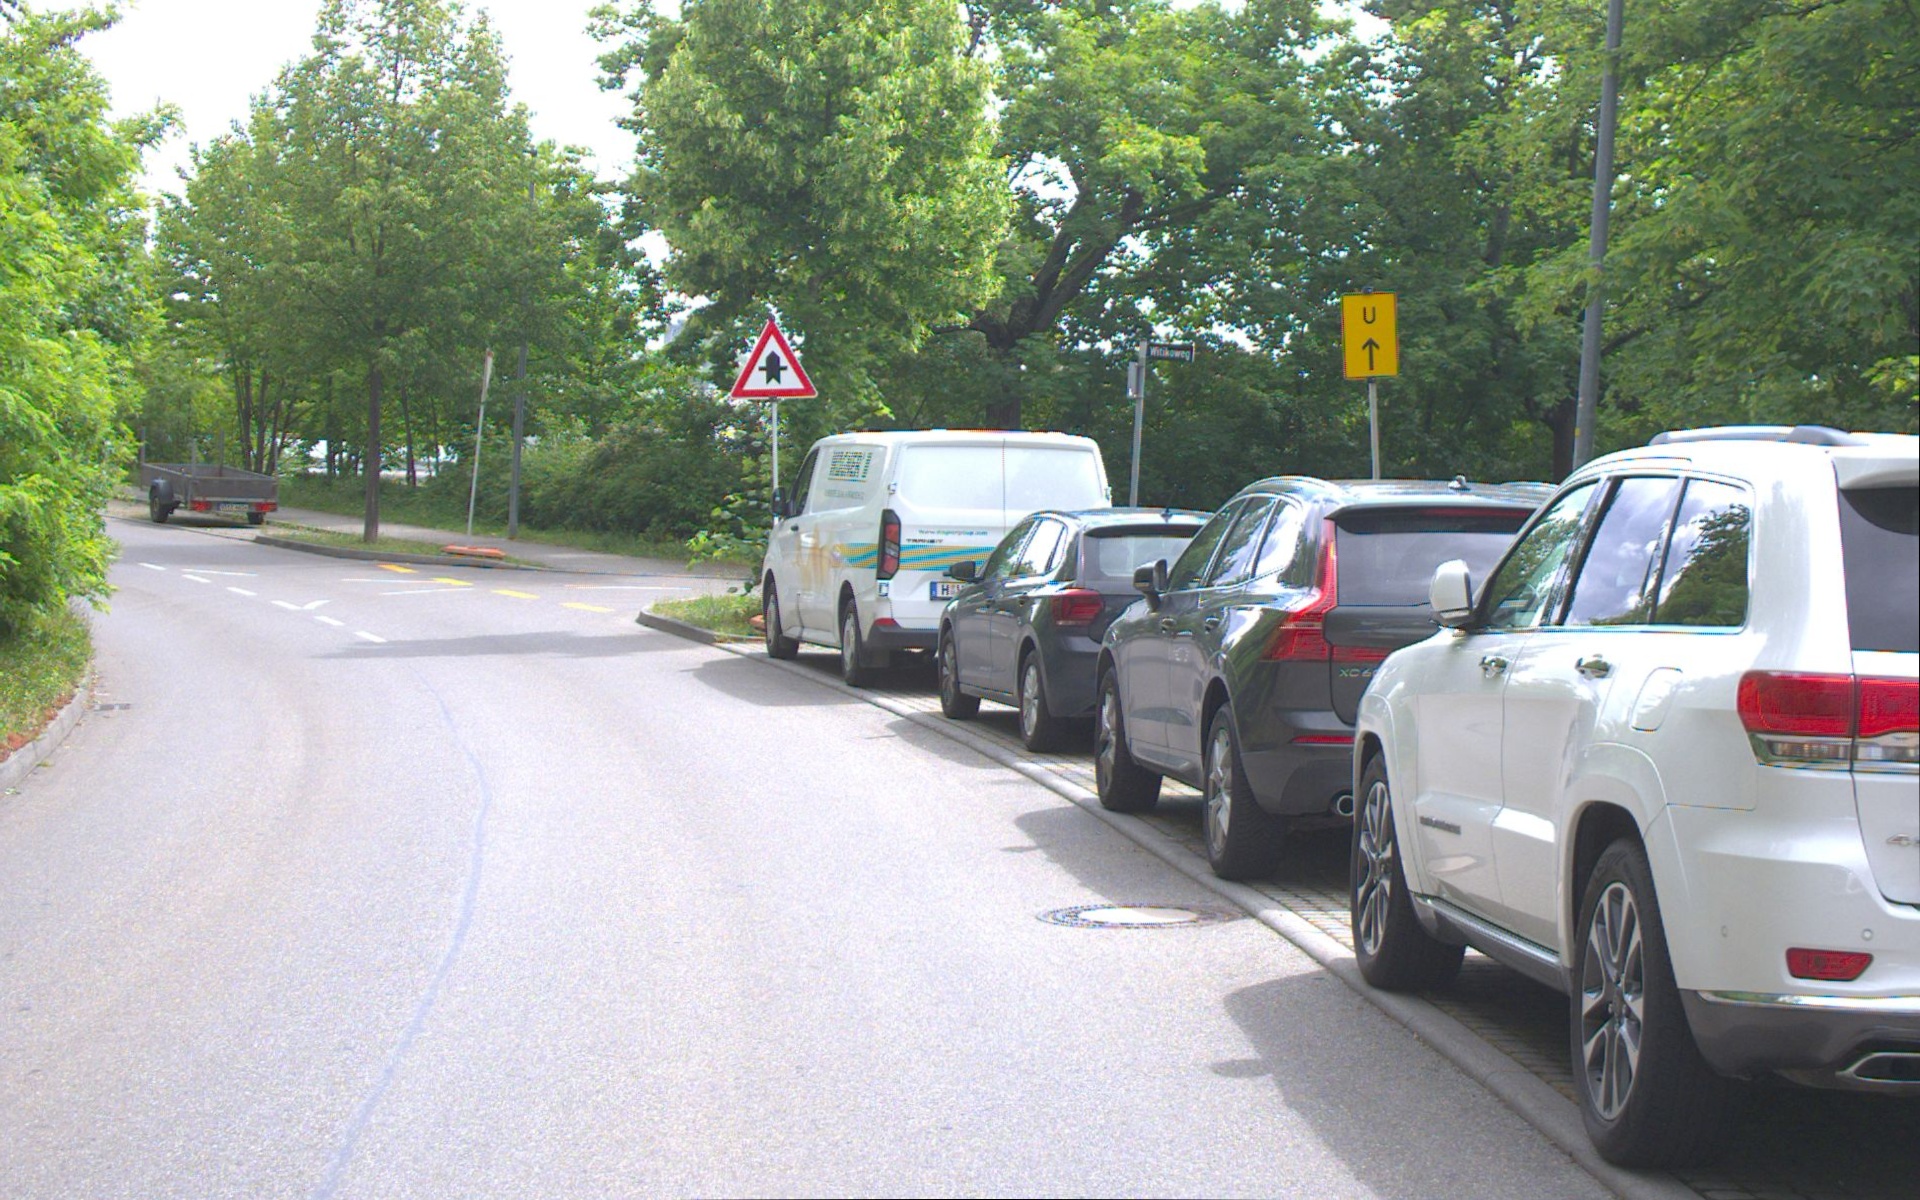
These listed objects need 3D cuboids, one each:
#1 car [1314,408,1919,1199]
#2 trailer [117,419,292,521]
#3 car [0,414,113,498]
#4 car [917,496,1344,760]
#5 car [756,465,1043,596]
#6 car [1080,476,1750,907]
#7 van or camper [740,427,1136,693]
[{"bbox_3d":[2.296,0.436,9.235,1.871,1.683,4.580,3,2,-3],"label":"car"},{"bbox_3d":[-12.939,-2.232,58.713,1.784,1.520,4.001,0,5,-29],"label":"trailer"},{"bbox_3d":[-18.046,-2.825,66.872,1.769,1.406,4.001,-1,6,-34],"label":"car"},{"bbox_3d":[0.968,0.107,21.827,1.797,1.459,4.001,2,1,-10],"label":"car"},{"bbox_3d":[-0.840,-0.944,46.334,3.535,1.475,1.782,3,3,-10],"label":"car"},{"bbox_3d":[1.825,0.271,15.304,1.993,1.620,4.279,0,2,-6],"label":"car"},{"bbox_3d":[-0.314,-0.404,27.704,1.993,1.913,5.268,1,2,-14],"label":"van or camper"}]
